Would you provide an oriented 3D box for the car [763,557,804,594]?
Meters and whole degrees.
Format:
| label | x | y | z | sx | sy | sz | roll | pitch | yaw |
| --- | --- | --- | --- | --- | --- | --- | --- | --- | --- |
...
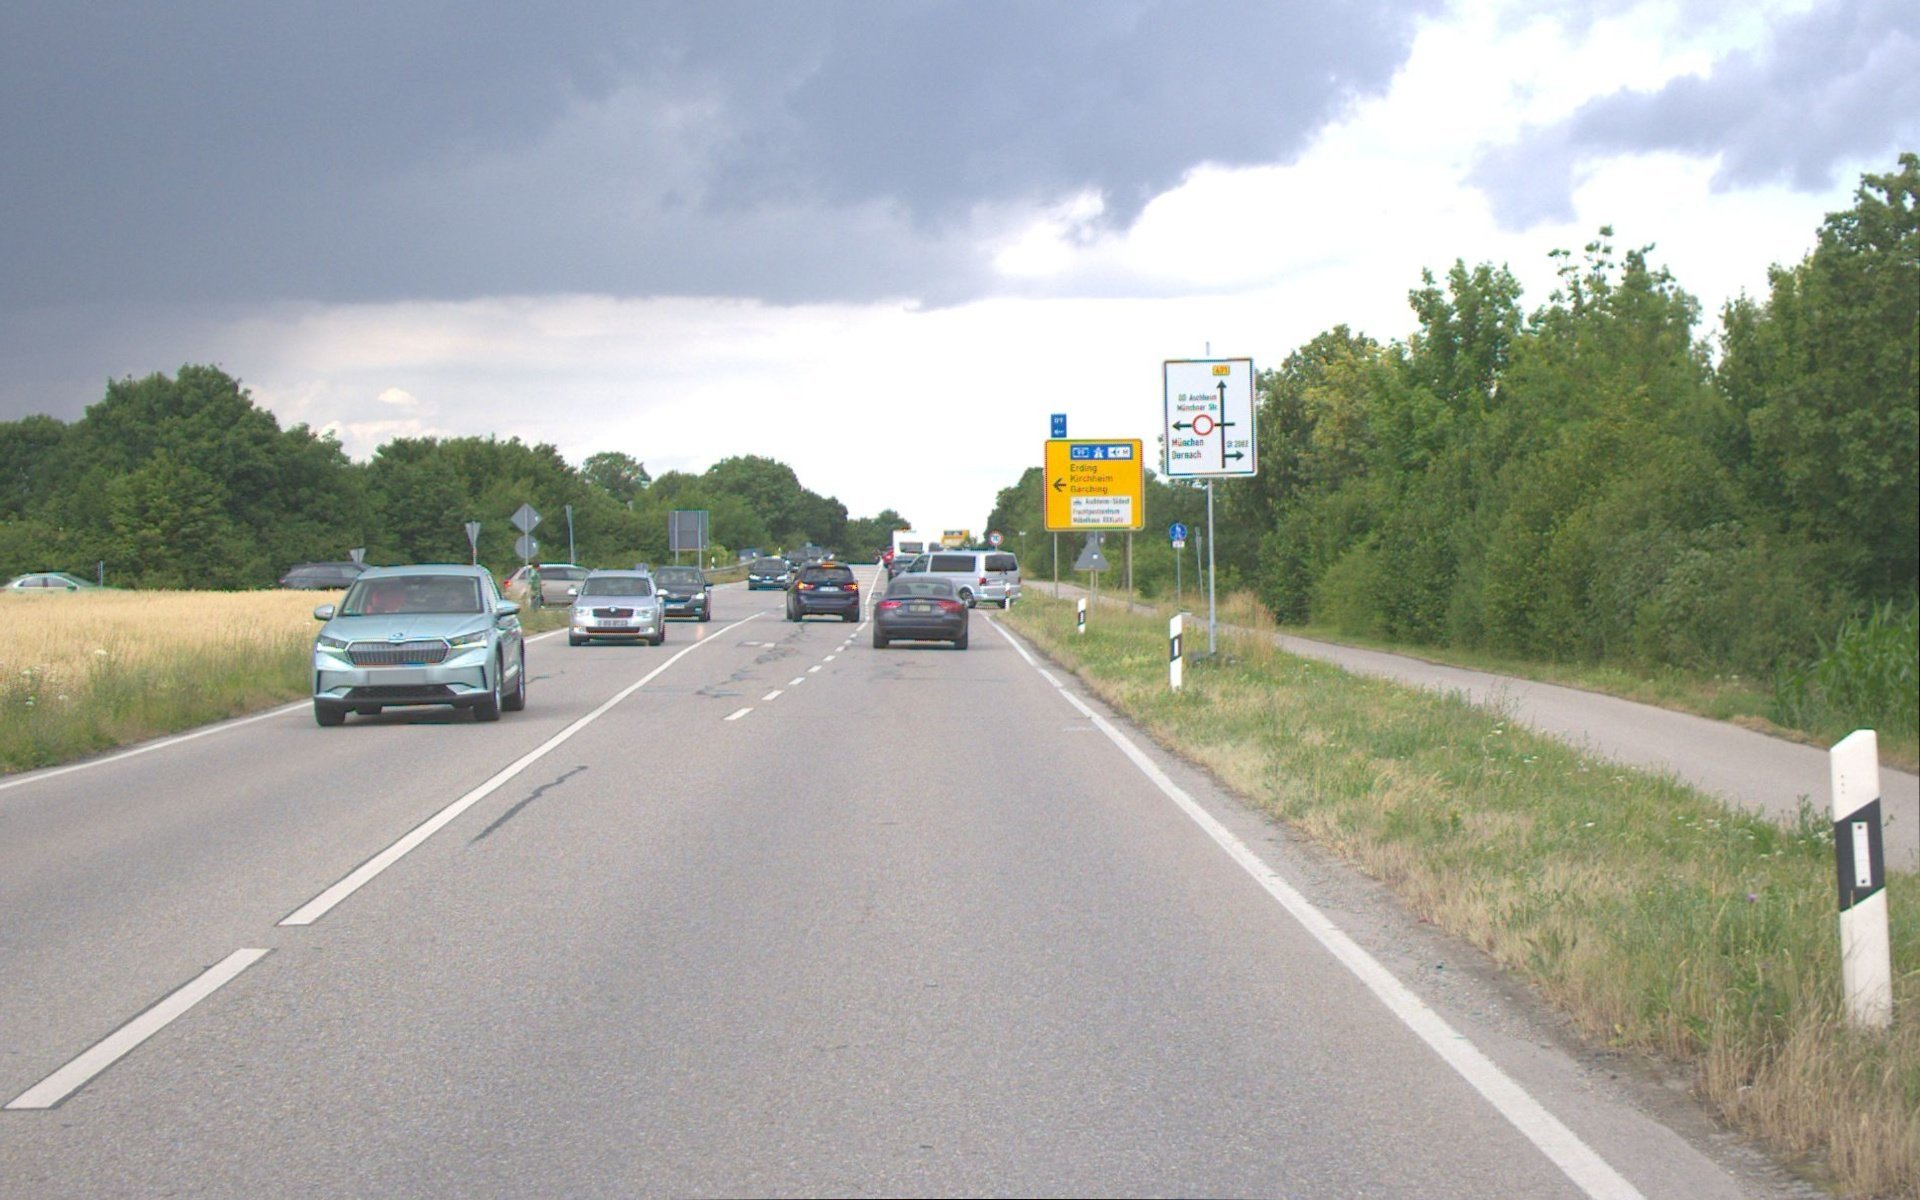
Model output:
| label | x | y | z | sx | sy | sz | roll | pitch | yaw |
| --- | --- | --- | --- | --- | --- | --- | --- | --- | --- |
| car | -7.854 | -1.098 | 153.349 | 1.646 | 1.585 | 4.000 | -1 | 1 | 0 |

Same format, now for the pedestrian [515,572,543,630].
| label | x | y | z | sx | sy | sz | roll | pitch | yaw |
| --- | --- | --- | --- | --- | --- | --- | --- | --- | --- |
| pedestrian | -11.689 | 0.024 | 93.272 | 0.367 | 1.570 | 0.702 | -1 | 1 | 35 |

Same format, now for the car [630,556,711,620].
| label | x | y | z | sx | sy | sz | roll | pitch | yaw |
| --- | --- | --- | --- | --- | --- | --- | --- | --- | --- |
| car | -7.717 | -0.340 | 91.947 | 1.853 | 1.624 | 4.000 | -1 | 1 | -1 |

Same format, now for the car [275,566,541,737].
| label | x | y | z | sx | sy | sz | roll | pitch | yaw |
| --- | --- | --- | --- | --- | --- | --- | --- | --- | --- |
| car | -5.734 | 0.481 | 36.298 | 2.065 | 1.575 | 4.765 | -2 | 1 | -1 |

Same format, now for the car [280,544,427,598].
| label | x | y | z | sx | sy | sz | roll | pitch | yaw |
| --- | --- | --- | --- | --- | --- | --- | --- | --- | --- |
| car | -19.104 | -0.917 | 108.410 | 4.412 | 1.643 | 1.502 | -1 | 1 | -4 |

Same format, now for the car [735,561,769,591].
| label | x | y | z | sx | sy | sz | roll | pitch | yaw |
| --- | --- | --- | --- | --- | --- | --- | --- | --- | --- |
| car | -11.526 | -1.339 | 190.784 | 1.646 | 1.585 | 4.000 | -1 | 1 | 0 |

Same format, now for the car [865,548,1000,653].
| label | x | y | z | sx | sy | sz | roll | pitch | yaw |
| --- | --- | --- | --- | --- | --- | --- | --- | --- | --- |
| car | -0.578 | -0.016 | 67.139 | 2.371 | 1.874 | 4.478 | -2 | 1 | -3 |

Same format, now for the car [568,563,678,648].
| label | x | y | z | sx | sy | sz | roll | pitch | yaw |
| --- | --- | --- | --- | --- | --- | --- | --- | --- | --- |
| car | -6.699 | 0.072 | 68.717 | 1.767 | 1.596 | 4.931 | -1 | 1 | -1 |

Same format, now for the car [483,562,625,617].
| label | x | y | z | sx | sy | sz | roll | pitch | yaw |
| --- | --- | --- | --- | --- | --- | --- | --- | --- | --- |
| car | -12.867 | -0.332 | 109.127 | 4.412 | 1.643 | 1.502 | -1 | 1 | -5 |

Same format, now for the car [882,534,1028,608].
| label | x | y | z | sx | sy | sz | roll | pitch | yaw |
| --- | --- | --- | --- | --- | --- | --- | --- | --- | --- |
| car | -0.193 | -0.990 | 117.219 | 4.835 | 2.443 | 2.006 | -1 | 1 | -3 |

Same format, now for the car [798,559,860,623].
| label | x | y | z | sx | sy | sz | roll | pitch | yaw |
| --- | --- | --- | --- | --- | --- | --- | --- | --- | --- |
| car | -3.543 | -0.267 | 93.500 | 1.571 | 1.695 | 4.000 | -1 | 1 | -1 |

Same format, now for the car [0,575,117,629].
| label | x | y | z | sx | sy | sz | roll | pitch | yaw |
| --- | --- | --- | --- | --- | --- | --- | --- | --- | --- |
| car | -29.843 | 0.063 | 109.909 | 5.309 | 1.643 | 1.866 | -1 | 1 | 4 |
